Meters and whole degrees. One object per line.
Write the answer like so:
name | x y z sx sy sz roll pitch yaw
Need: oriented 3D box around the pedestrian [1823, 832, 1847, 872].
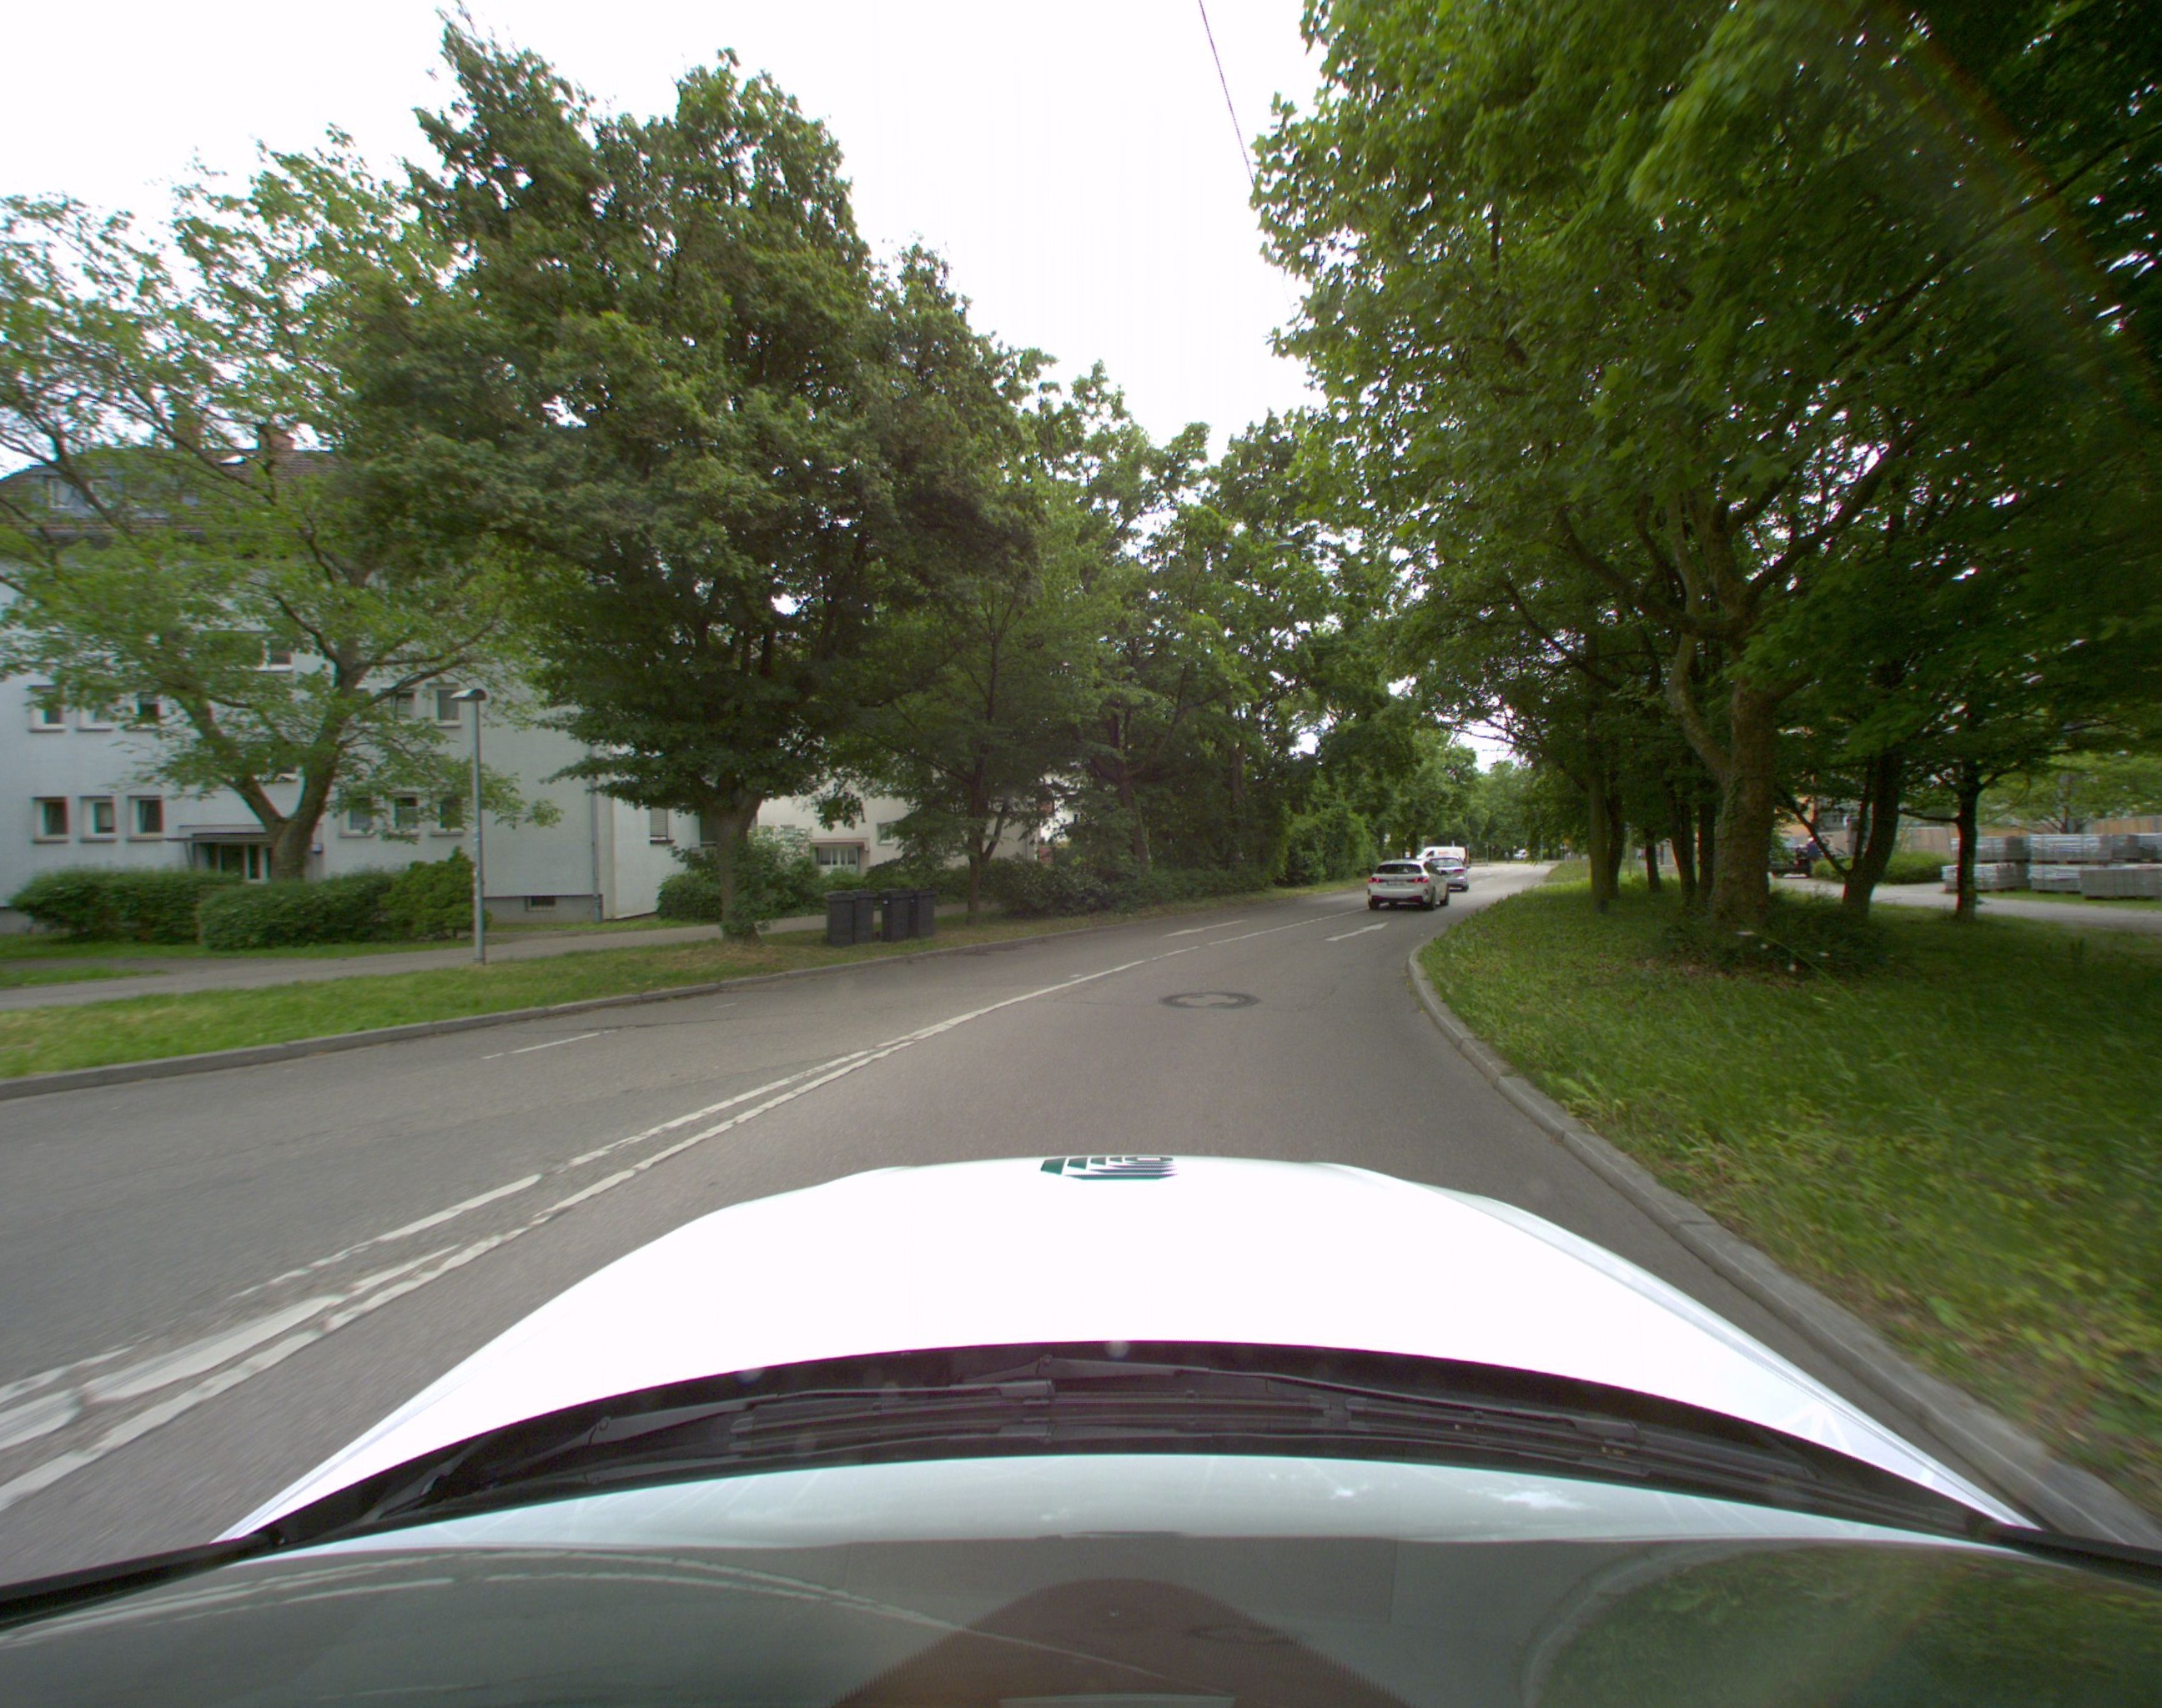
pedestrian | 33.239 -0.109 35.900 0.495 1.725 0.537 -4 1 3

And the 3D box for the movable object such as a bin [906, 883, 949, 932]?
movable object such as a bin | -2.841 0.979 15.099 0.580 0.845 0.594 0 2 -36

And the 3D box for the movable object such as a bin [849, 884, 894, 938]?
movable object such as a bin | -3.709 0.997 14.409 0.595 0.879 0.614 0 2 -36

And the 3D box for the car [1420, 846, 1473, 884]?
car | 16.219 0.469 36.059 1.905 1.574 4.024 -1 0 27

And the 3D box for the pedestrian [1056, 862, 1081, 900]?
pedestrian | -0.522 1.092 33.512 0.602 1.500 0.878 2 2 33

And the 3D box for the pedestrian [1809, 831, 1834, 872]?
pedestrian | 32.588 -0.132 35.832 0.471 1.754 0.585 -4 1 3

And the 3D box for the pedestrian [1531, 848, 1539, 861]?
pedestrian | 69.849 0.109 125.196 0.915 1.871 1.025 -5 0 29

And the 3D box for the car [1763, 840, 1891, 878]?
car | 34.183 0.246 37.367 4.729 1.517 1.864 -2 -2 -11

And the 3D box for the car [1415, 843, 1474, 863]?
car | 47.635 -0.180 106.891 6.945 2.521 2.082 0 1 -4

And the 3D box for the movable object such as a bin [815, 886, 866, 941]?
movable object such as a bin | -4.152 1.010 14.060 0.625 0.863 0.723 0 2 -36

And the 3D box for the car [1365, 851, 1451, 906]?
car | 9.930 0.691 24.517 1.778 1.517 4.233 -1 -1 30

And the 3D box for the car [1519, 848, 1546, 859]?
car | 100.612 -0.200 181.323 5.383 2.297 2.125 1 2 -18

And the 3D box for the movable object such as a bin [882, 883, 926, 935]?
movable object such as a bin | -3.202 0.987 14.760 0.580 0.866 0.594 0 2 -36
